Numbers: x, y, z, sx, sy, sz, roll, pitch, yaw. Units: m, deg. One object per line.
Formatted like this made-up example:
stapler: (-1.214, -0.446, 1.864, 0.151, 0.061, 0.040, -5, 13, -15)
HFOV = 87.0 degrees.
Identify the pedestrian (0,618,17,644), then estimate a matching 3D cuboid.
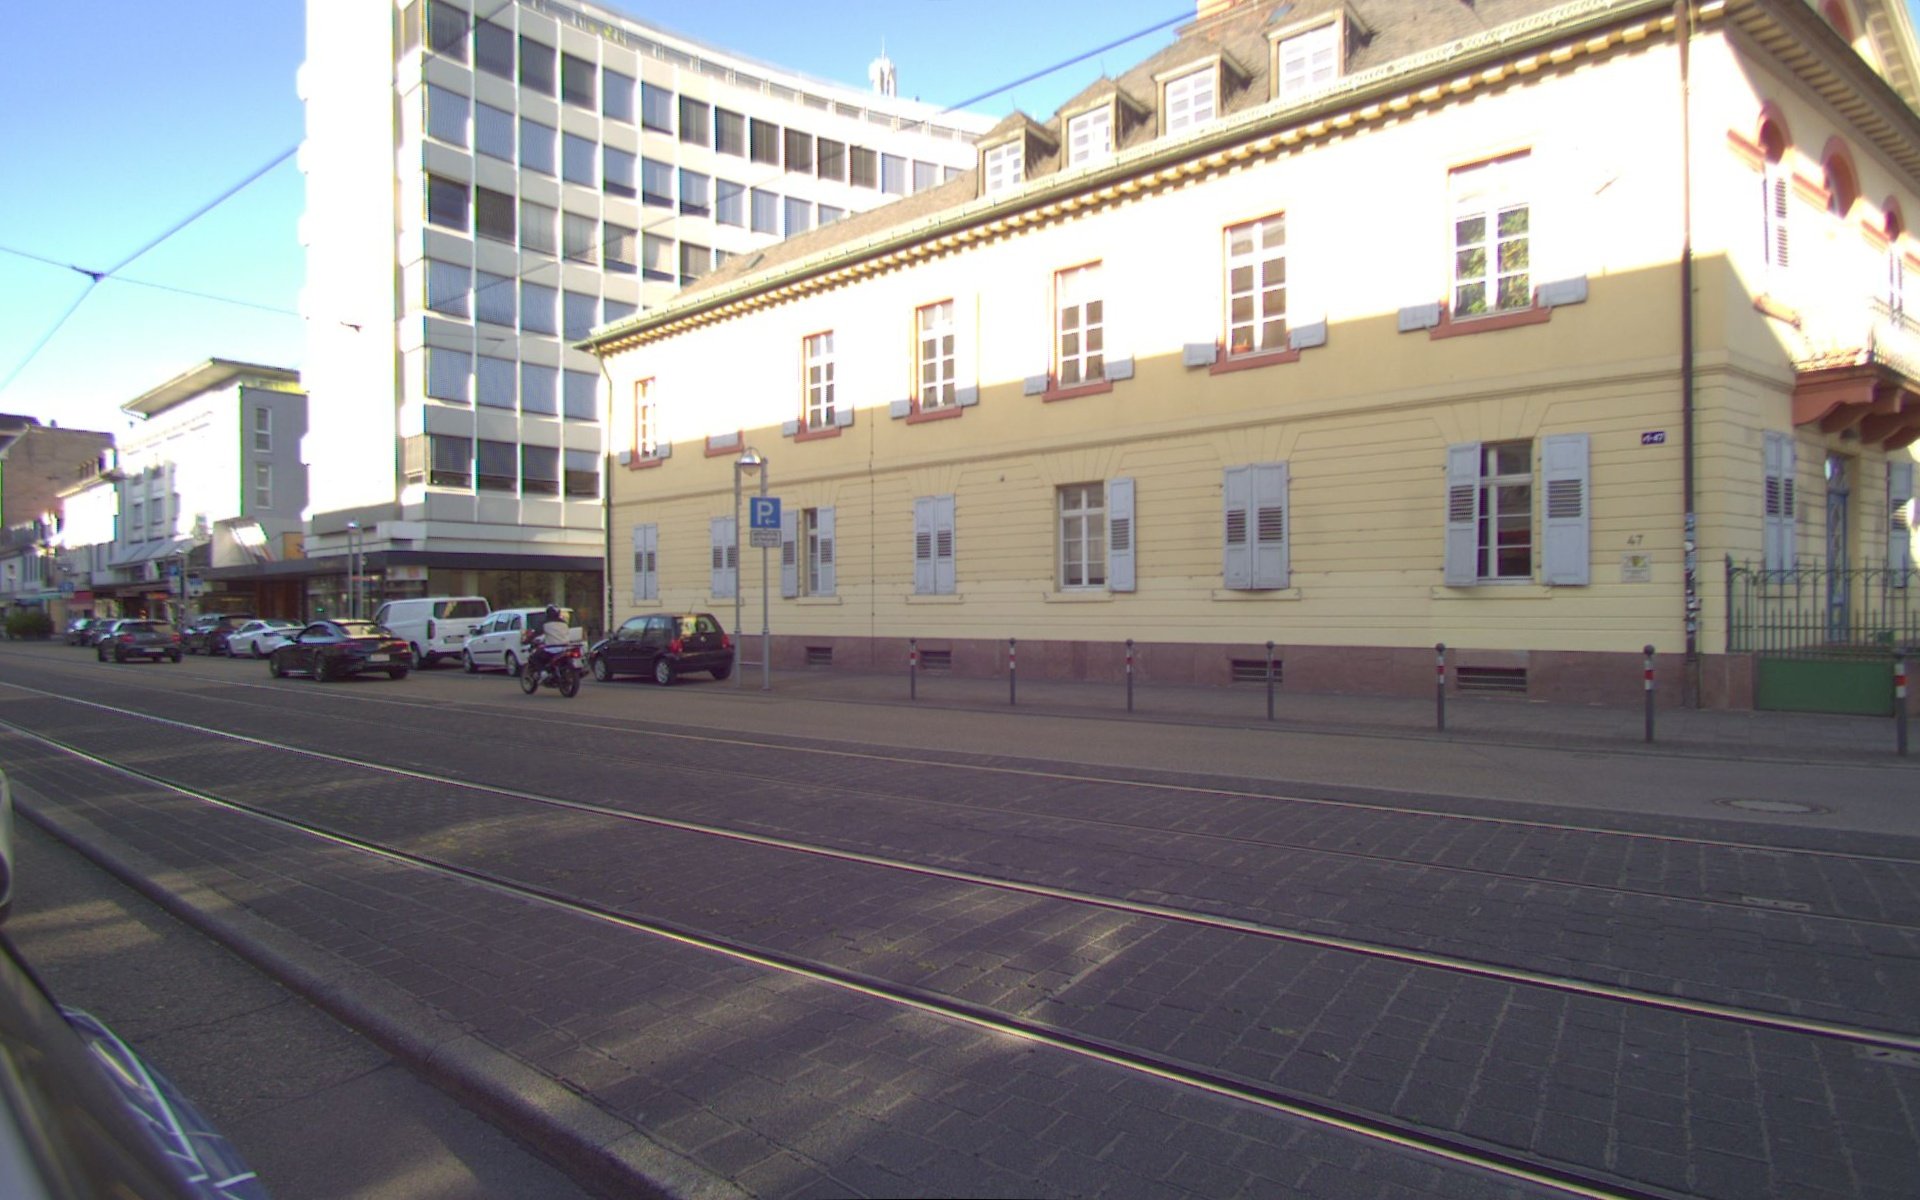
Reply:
pedestrian: (-69.522, 2.244, 73.596, 1.026, 1.835, 1.003, -1, 0, 22)

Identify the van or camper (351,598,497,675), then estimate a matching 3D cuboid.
van or camper: (-15.416, 0.986, 29.025, 4.792, 1.988, 1.936, -1, 1, 39)

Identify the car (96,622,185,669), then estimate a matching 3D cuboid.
car: (-28.063, 1.514, 34.620, 3.859, 1.521, 1.758, -2, -2, 42)

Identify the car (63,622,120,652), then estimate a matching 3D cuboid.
car: (-47.892, 2.005, 55.776, 3.830, 1.531, 1.764, -1, 0, 40)

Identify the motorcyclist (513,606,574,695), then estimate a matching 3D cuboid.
motorcyclist: (-7.620, 0.909, 18.524, 0.881, 1.570, 0.647, -1, 0, 33)

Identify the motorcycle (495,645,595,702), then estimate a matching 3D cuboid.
motorcycle: (-7.612, 1.326, 18.522, 2.150, 0.933, 0.594, -1, 0, 34)

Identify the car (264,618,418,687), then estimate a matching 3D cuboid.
car: (-15.071, 1.226, 24.532, 4.665, 1.521, 1.759, -1, -2, 39)

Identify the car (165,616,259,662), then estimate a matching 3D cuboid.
car: (-30.038, 1.520, 40.604, 4.275, 1.654, 1.908, -1, 1, 37)

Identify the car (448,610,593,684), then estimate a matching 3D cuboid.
car: (-11.081, 1.110, 25.403, 4.175, 1.632, 1.758, -1, 1, 42)

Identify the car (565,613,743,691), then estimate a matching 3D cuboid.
car: (-6.616, 1.045, 21.704, 3.958, 1.450, 1.759, -1, 1, 40)

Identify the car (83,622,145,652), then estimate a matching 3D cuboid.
car: (-43.720, 1.884, 52.302, 3.593, 1.427, 1.764, -1, 0, 38)

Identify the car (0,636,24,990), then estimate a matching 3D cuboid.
car: (-6.338, 0.888, 5.058, 4.771, 1.450, 1.845, -1, -2, 40)

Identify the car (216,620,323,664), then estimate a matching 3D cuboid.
car: (-25.643, 1.522, 37.556, 4.285, 1.463, 1.909, -1, 1, 36)
